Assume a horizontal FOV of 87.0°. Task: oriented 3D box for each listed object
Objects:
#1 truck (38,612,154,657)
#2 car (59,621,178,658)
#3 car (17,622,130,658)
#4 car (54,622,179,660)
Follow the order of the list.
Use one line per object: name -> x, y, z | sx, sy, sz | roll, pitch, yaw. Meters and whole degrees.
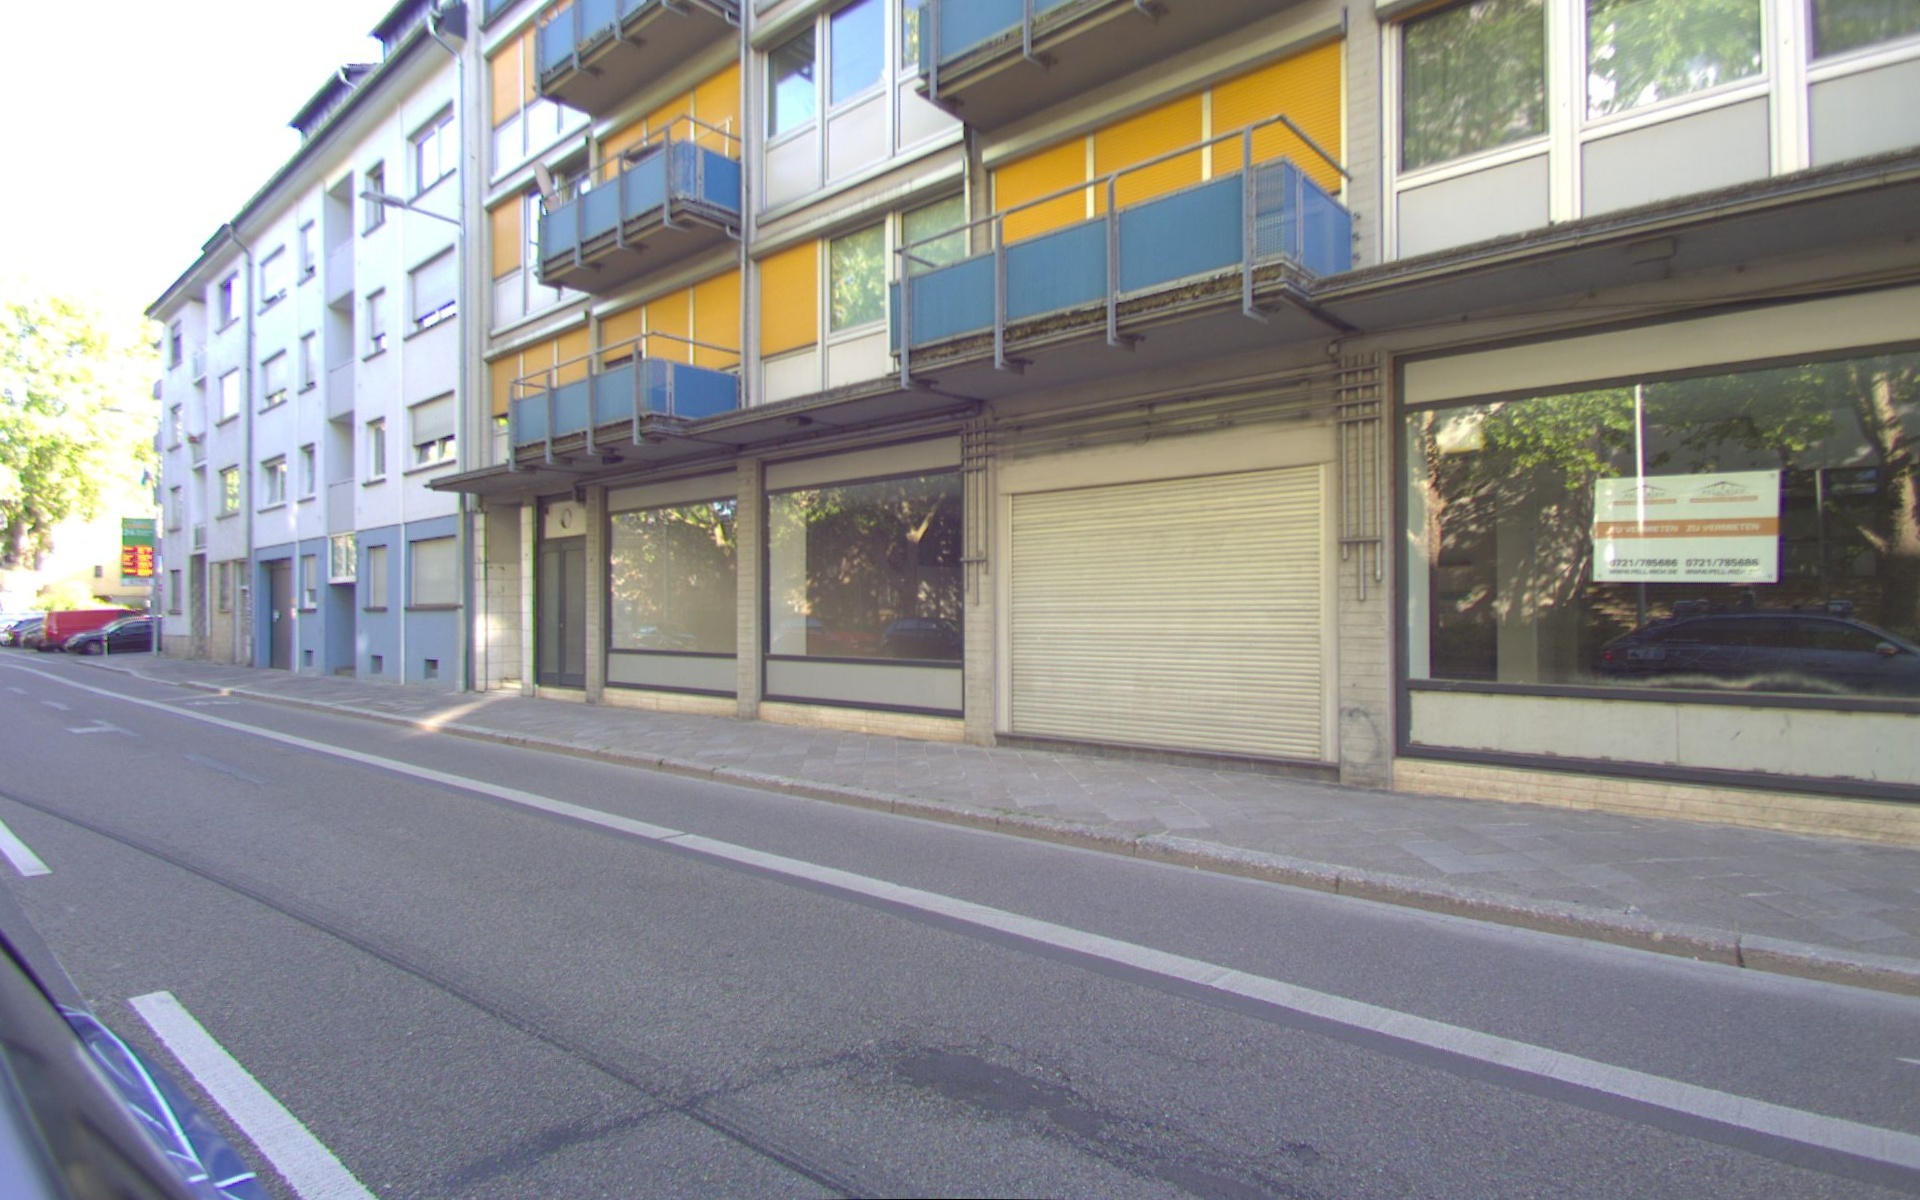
truck -> -40.499, 1.570, 47.489 | 1.761, 1.951, 3.944 | -1, 0, 42
car -> -38.108, 1.757, 45.897 | 1.761, 1.514, 3.944 | -1, 0, 42
car -> -42.909, 1.902, 49.036 | 1.761, 1.514, 3.944 | -1, 0, 42
car -> -36.628, 1.761, 44.009 | 1.761, 1.468, 3.944 | -1, 0, 42
